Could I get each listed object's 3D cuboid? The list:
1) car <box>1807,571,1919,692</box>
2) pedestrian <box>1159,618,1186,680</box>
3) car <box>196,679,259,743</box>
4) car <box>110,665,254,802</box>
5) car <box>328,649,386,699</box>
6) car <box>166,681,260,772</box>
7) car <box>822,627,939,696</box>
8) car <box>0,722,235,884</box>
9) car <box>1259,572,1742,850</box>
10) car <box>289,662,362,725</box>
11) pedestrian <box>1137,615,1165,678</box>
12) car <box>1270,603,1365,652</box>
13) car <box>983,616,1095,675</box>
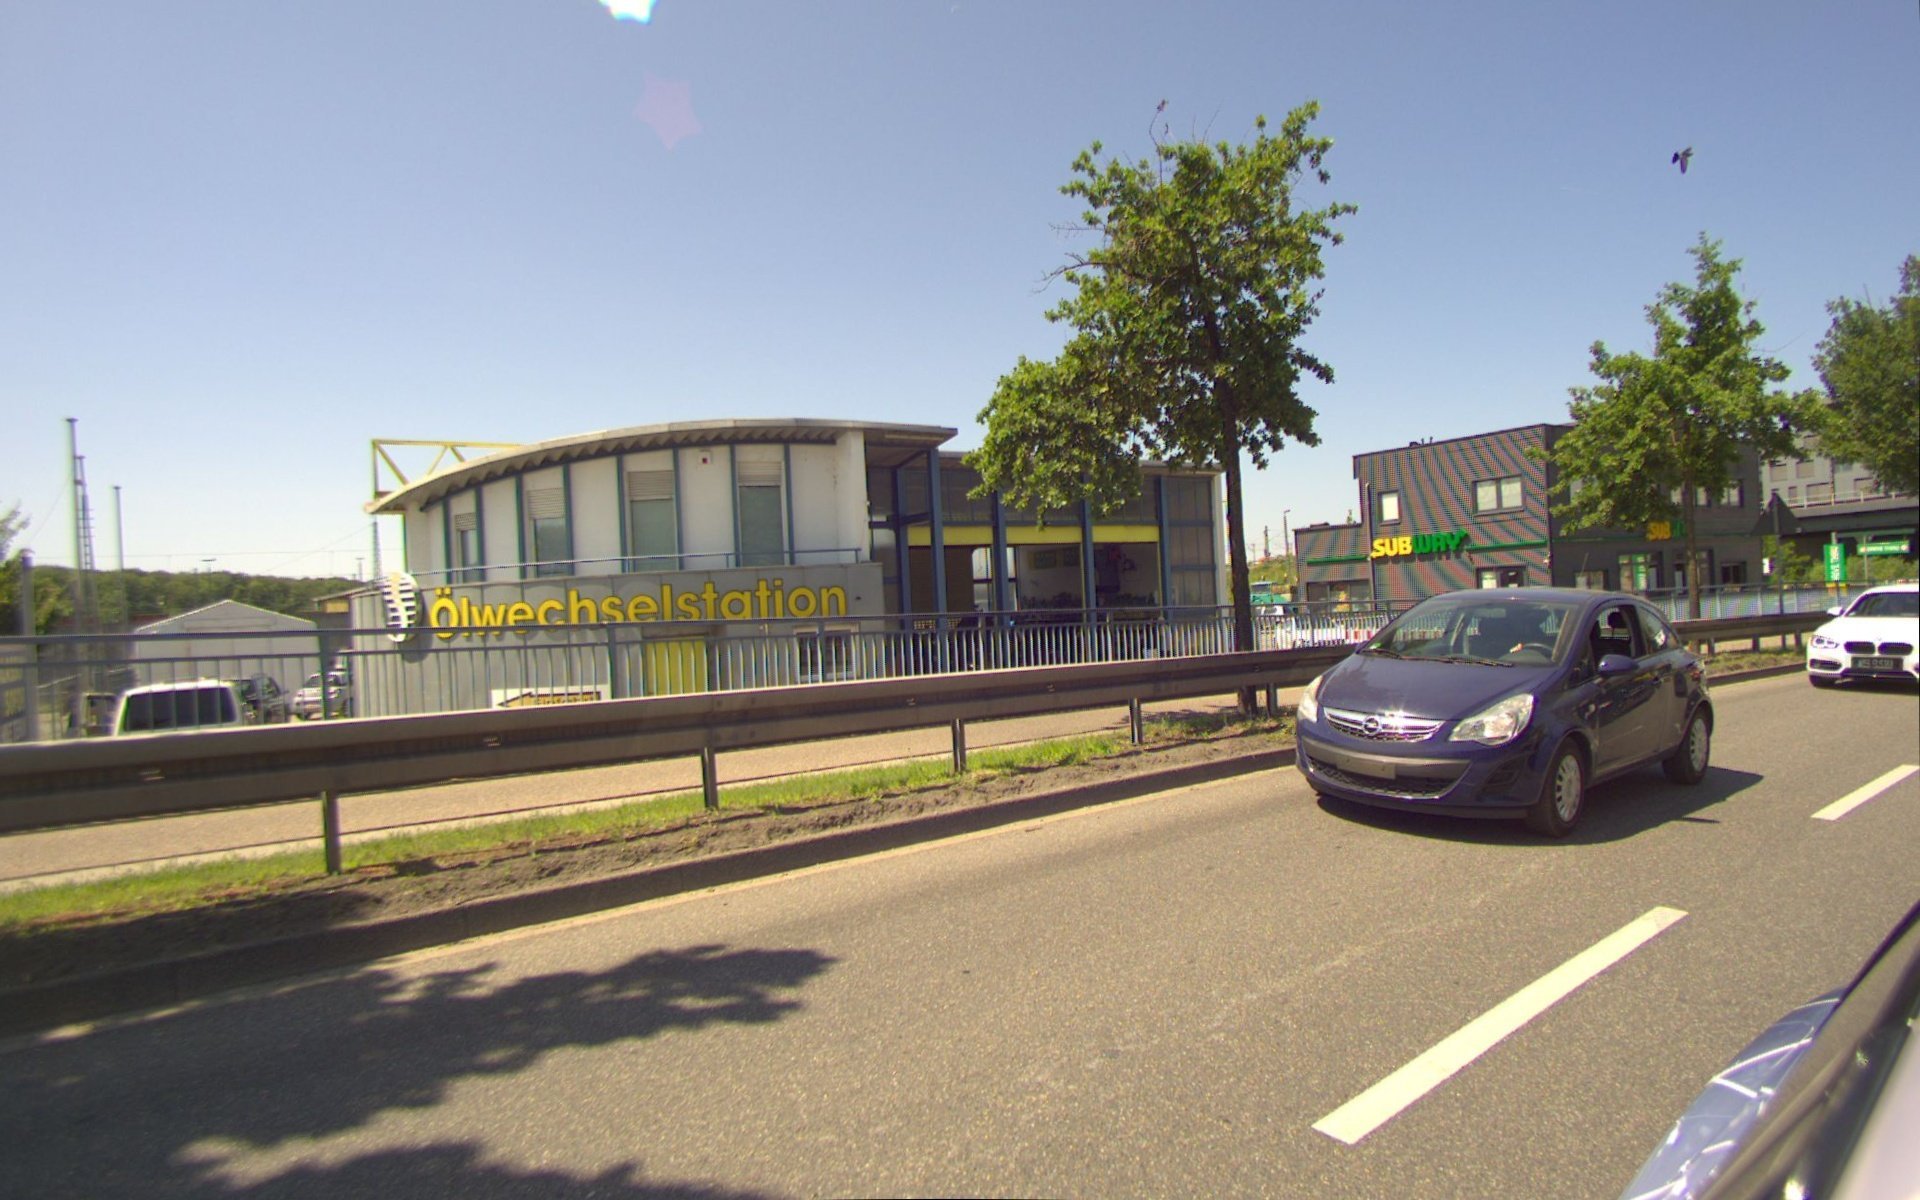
[{"bbox_3d":[13.792,0.369,14.311,3.976,1.461,1.765,-3,3,-34],"label":"car"},{"bbox_3d":[6.100,1.397,29.110,0.578,1.724,0.427,-2,0,-33],"label":"pedestrian"},{"bbox_3d":[-19.534,2.915,27.063,1.200,1.367,2.714,-2,1,-33],"label":"car"},{"bbox_3d":[-13.183,2.136,17.367,1.566,1.680,4.611,-2,1,-33],"label":"car"},{"bbox_3d":[-23.219,2.793,38.931,1.757,1.571,4.002,-3,1,-32],"label":"car"},{"bbox_3d":[-16.646,2.749,22.685,1.443,1.493,4.148,-1,0,-33],"label":"car"},{"bbox_3d":[-2.352,1.719,29.230,1.620,1.705,3.678,-3,1,-36],"label":"car"},{"bbox_3d":[-10.531,2.318,11.658,1.446,1.325,3.298,-2,1,19],"label":"car"},{"bbox_3d":[4.009,0.565,7.266,3.820,1.462,1.650,-2,1,-38],"label":"car"},{"bbox_3d":[-20.660,2.984,33.054,1.655,1.571,4.005,-2,1,-28],"label":"car"},{"bbox_3d":[5.407,1.314,28.659,0.479,1.724,0.523,-2,0,-31],"label":"pedestrian"},{"bbox_3d":[12.267,0.891,35.096,1.966,1.374,5.074,-2,1,7],"label":"car"},{"bbox_3d":[2.509,1.429,32.843,1.620,1.705,3.678,-3,1,-36],"label":"car"}]
